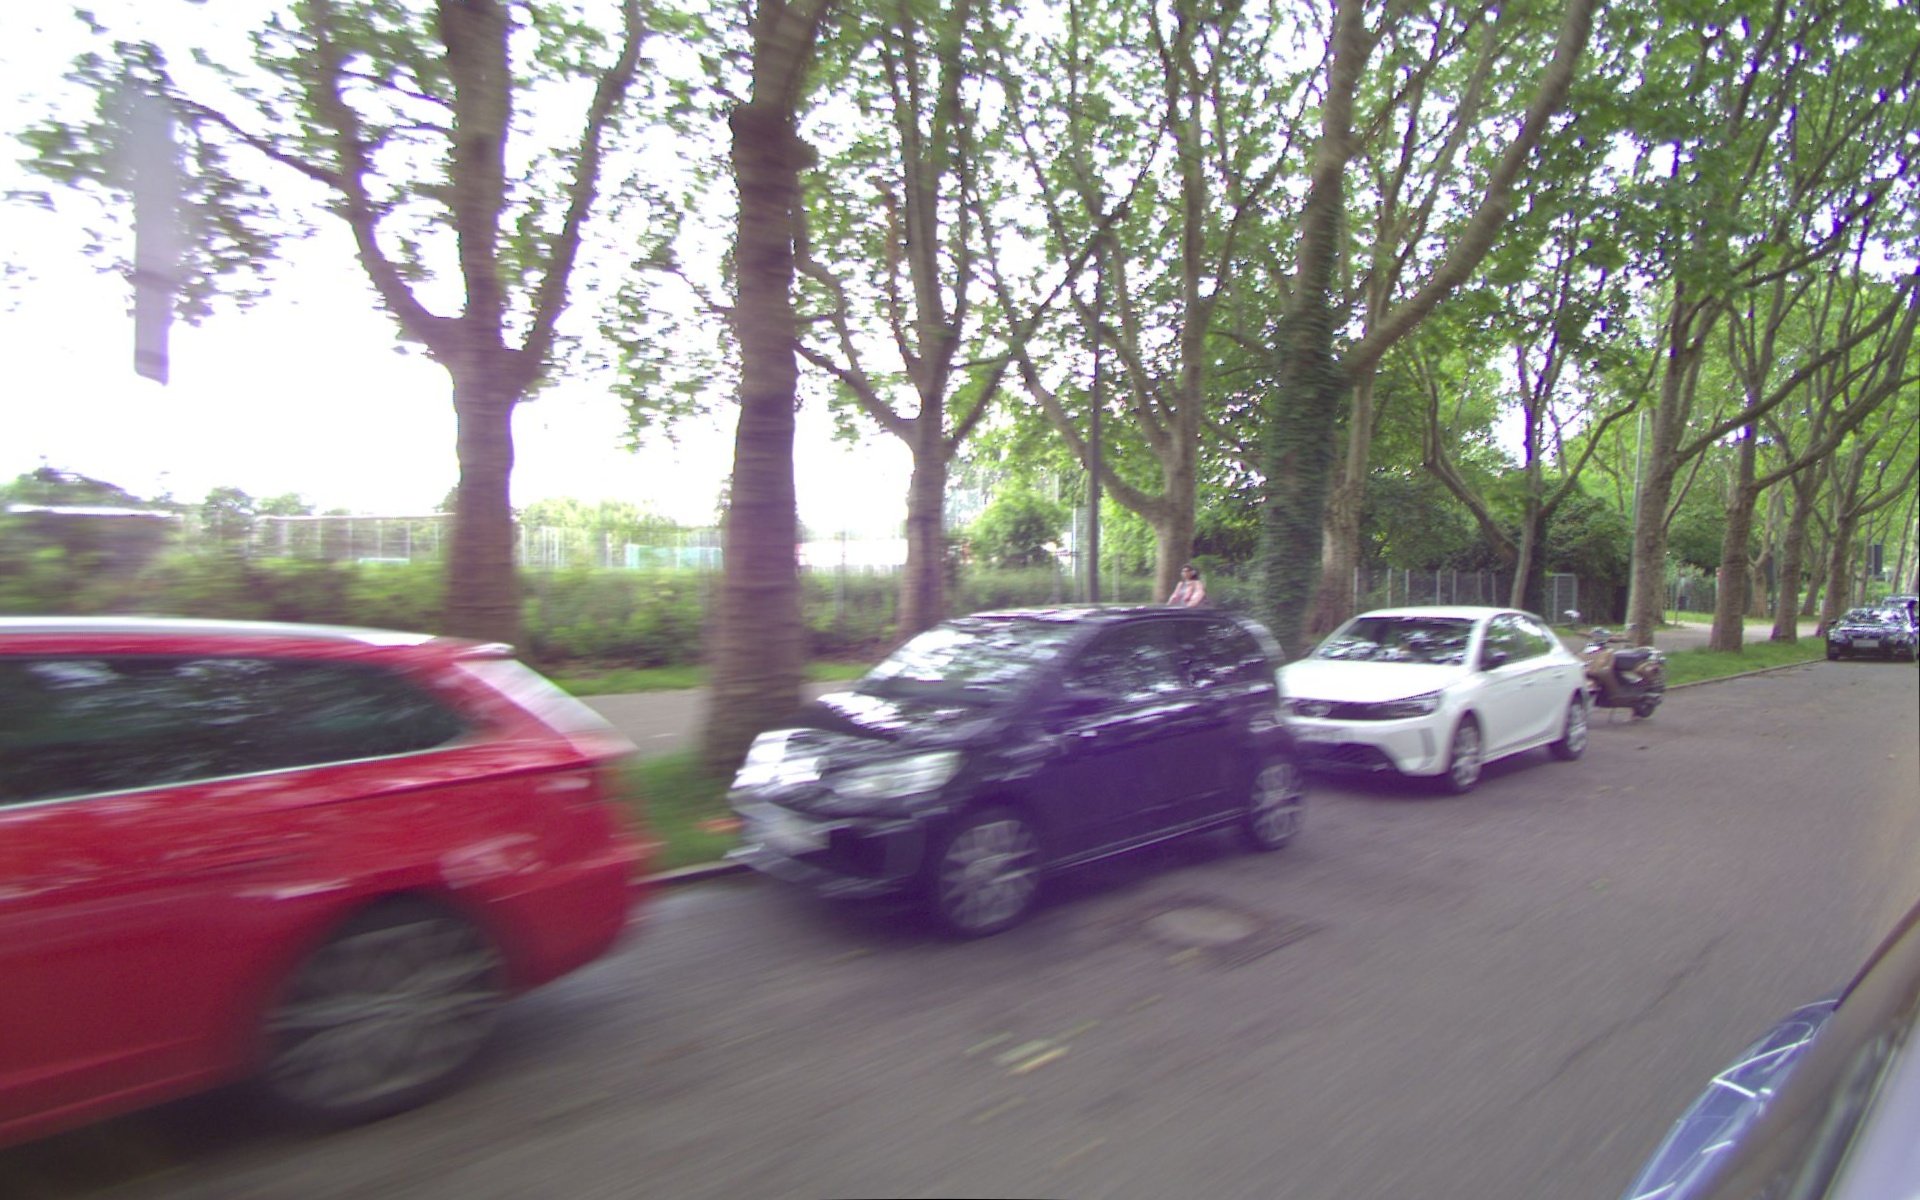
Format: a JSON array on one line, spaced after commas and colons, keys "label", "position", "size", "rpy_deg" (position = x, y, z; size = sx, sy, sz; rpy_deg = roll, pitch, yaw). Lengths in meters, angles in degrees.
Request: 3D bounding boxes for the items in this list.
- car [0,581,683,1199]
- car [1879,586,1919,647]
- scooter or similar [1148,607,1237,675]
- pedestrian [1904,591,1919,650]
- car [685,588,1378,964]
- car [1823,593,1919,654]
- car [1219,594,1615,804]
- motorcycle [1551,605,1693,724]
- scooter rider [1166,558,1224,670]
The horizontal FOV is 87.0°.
[{"label": "car", "position": [-3.184, 0.696, 2.582], "size": [4.553, 1.457, 1.717], "rpy_deg": [0, -1, -45]}, {"label": "car", "position": [29.625, 0.501, 31.120], "size": [1.840, 1.806, 4.381], "rpy_deg": [-2, -2, 40]}, {"label": "scooter or similar", "position": [3.904, 0.663, 16.933], "size": [1.441, 1.050, 0.682], "rpy_deg": [0, 3, -41]}, {"label": "pedestrian", "position": [27.036, 0.566, 28.447], "size": [0.729, 1.647, 0.634], "rpy_deg": [1, 0, -41]}, {"label": "car", "position": [0.625, 0.719, 5.993], "size": [4.007, 1.489, 1.733], "rpy_deg": [0, -2, -40]}, {"label": "car", "position": [24.646, 0.588, 26.874], "size": [4.295, 1.497, 1.997], "rpy_deg": [0, -1, -41]}, {"label": "car", "position": [4.257, 0.694, 9.141], "size": [4.051, 1.456, 1.738], "rpy_deg": [0, 1, -41]}, {"label": "motorcycle", "position": [8.116, 0.738, 12.383], "size": [1.953, 1.348, 0.715], "rpy_deg": [0, 0, -33]}, {"label": "scooter rider", "position": [3.925, 0.221, 16.914], "size": [0.577, 1.822, 0.678], "rpy_deg": [1, 2, -40]}]
